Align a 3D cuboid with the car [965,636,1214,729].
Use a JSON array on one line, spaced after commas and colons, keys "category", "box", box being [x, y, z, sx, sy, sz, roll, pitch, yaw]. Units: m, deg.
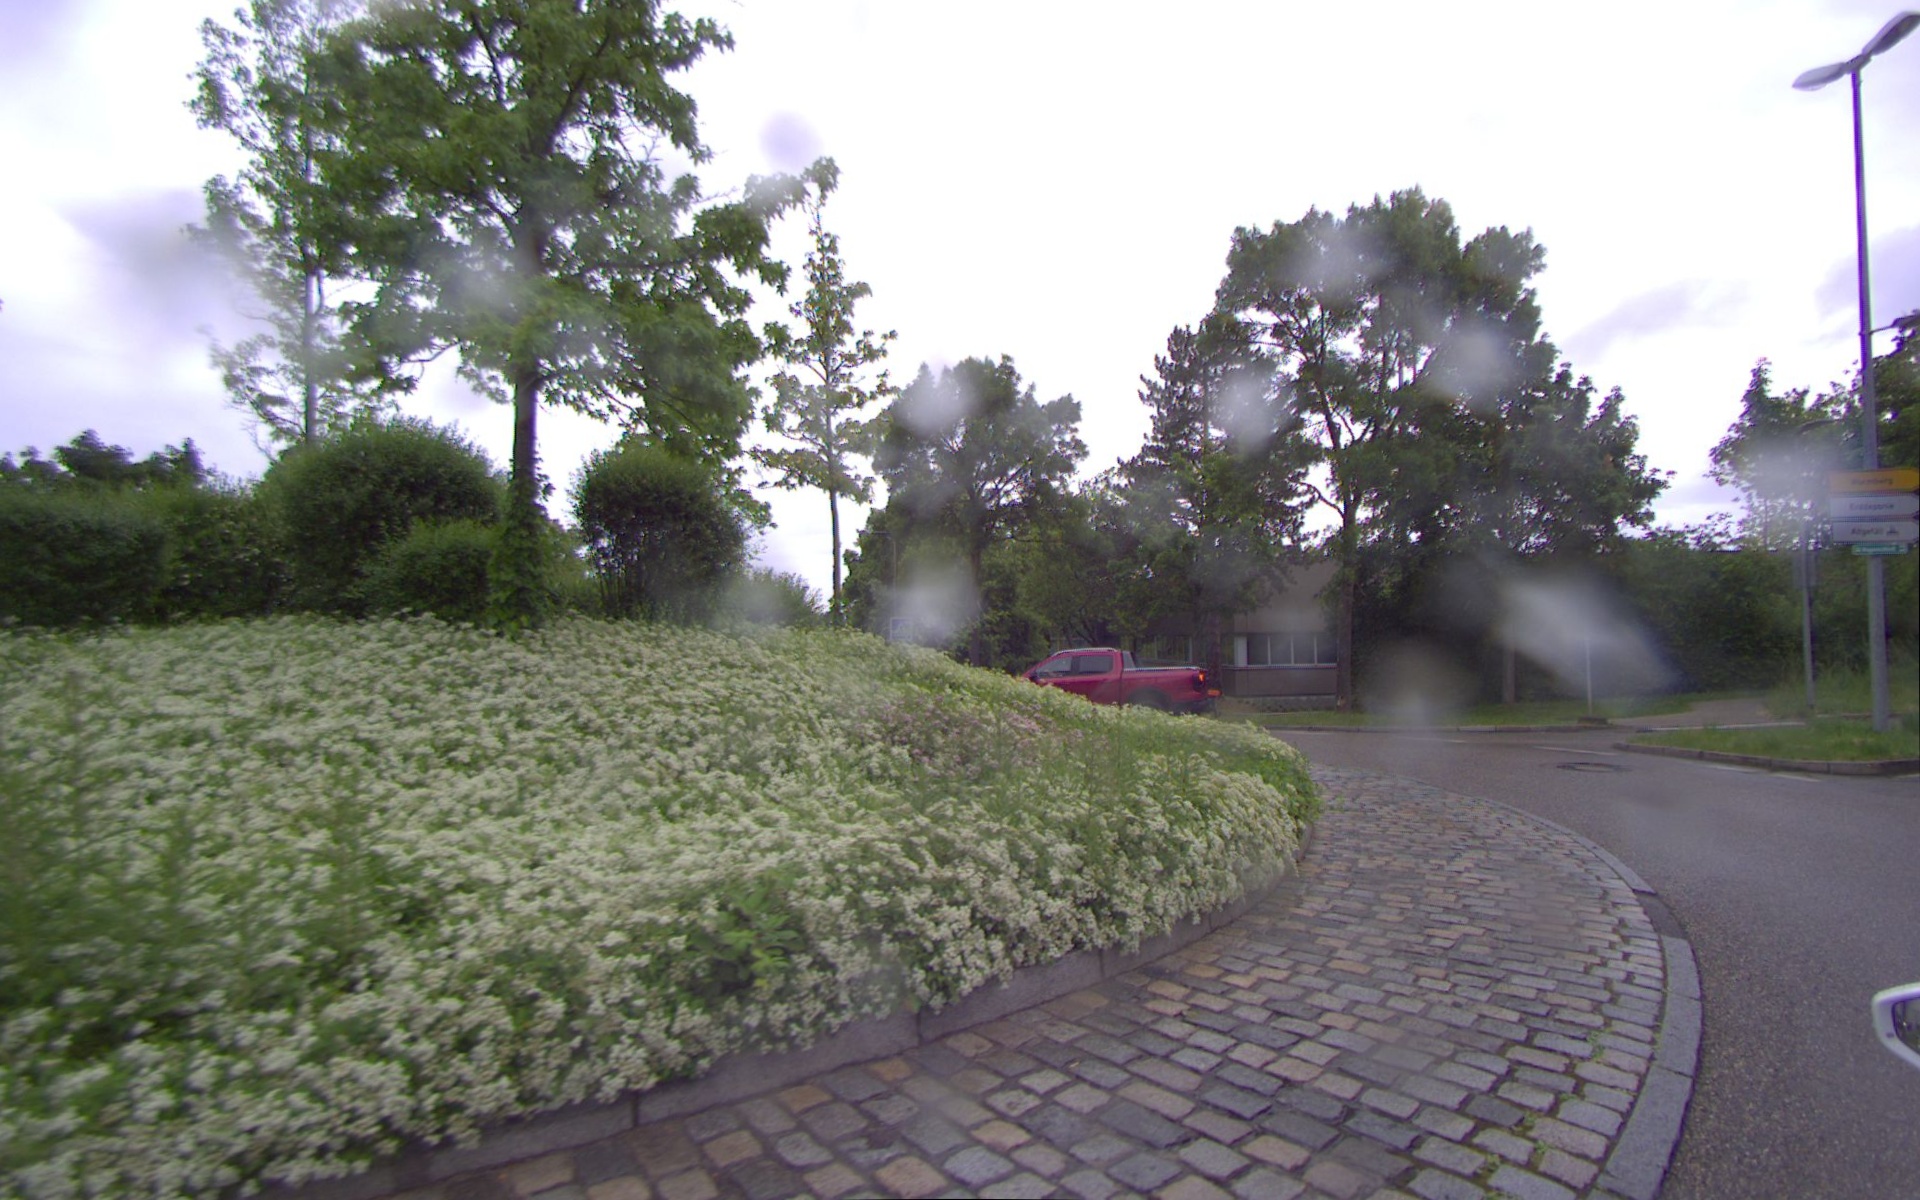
[{"category": "car", "box": [2.817, 1.770, 21.643, 5.009, 1.818, 2.001, -2, -3, 18]}]
